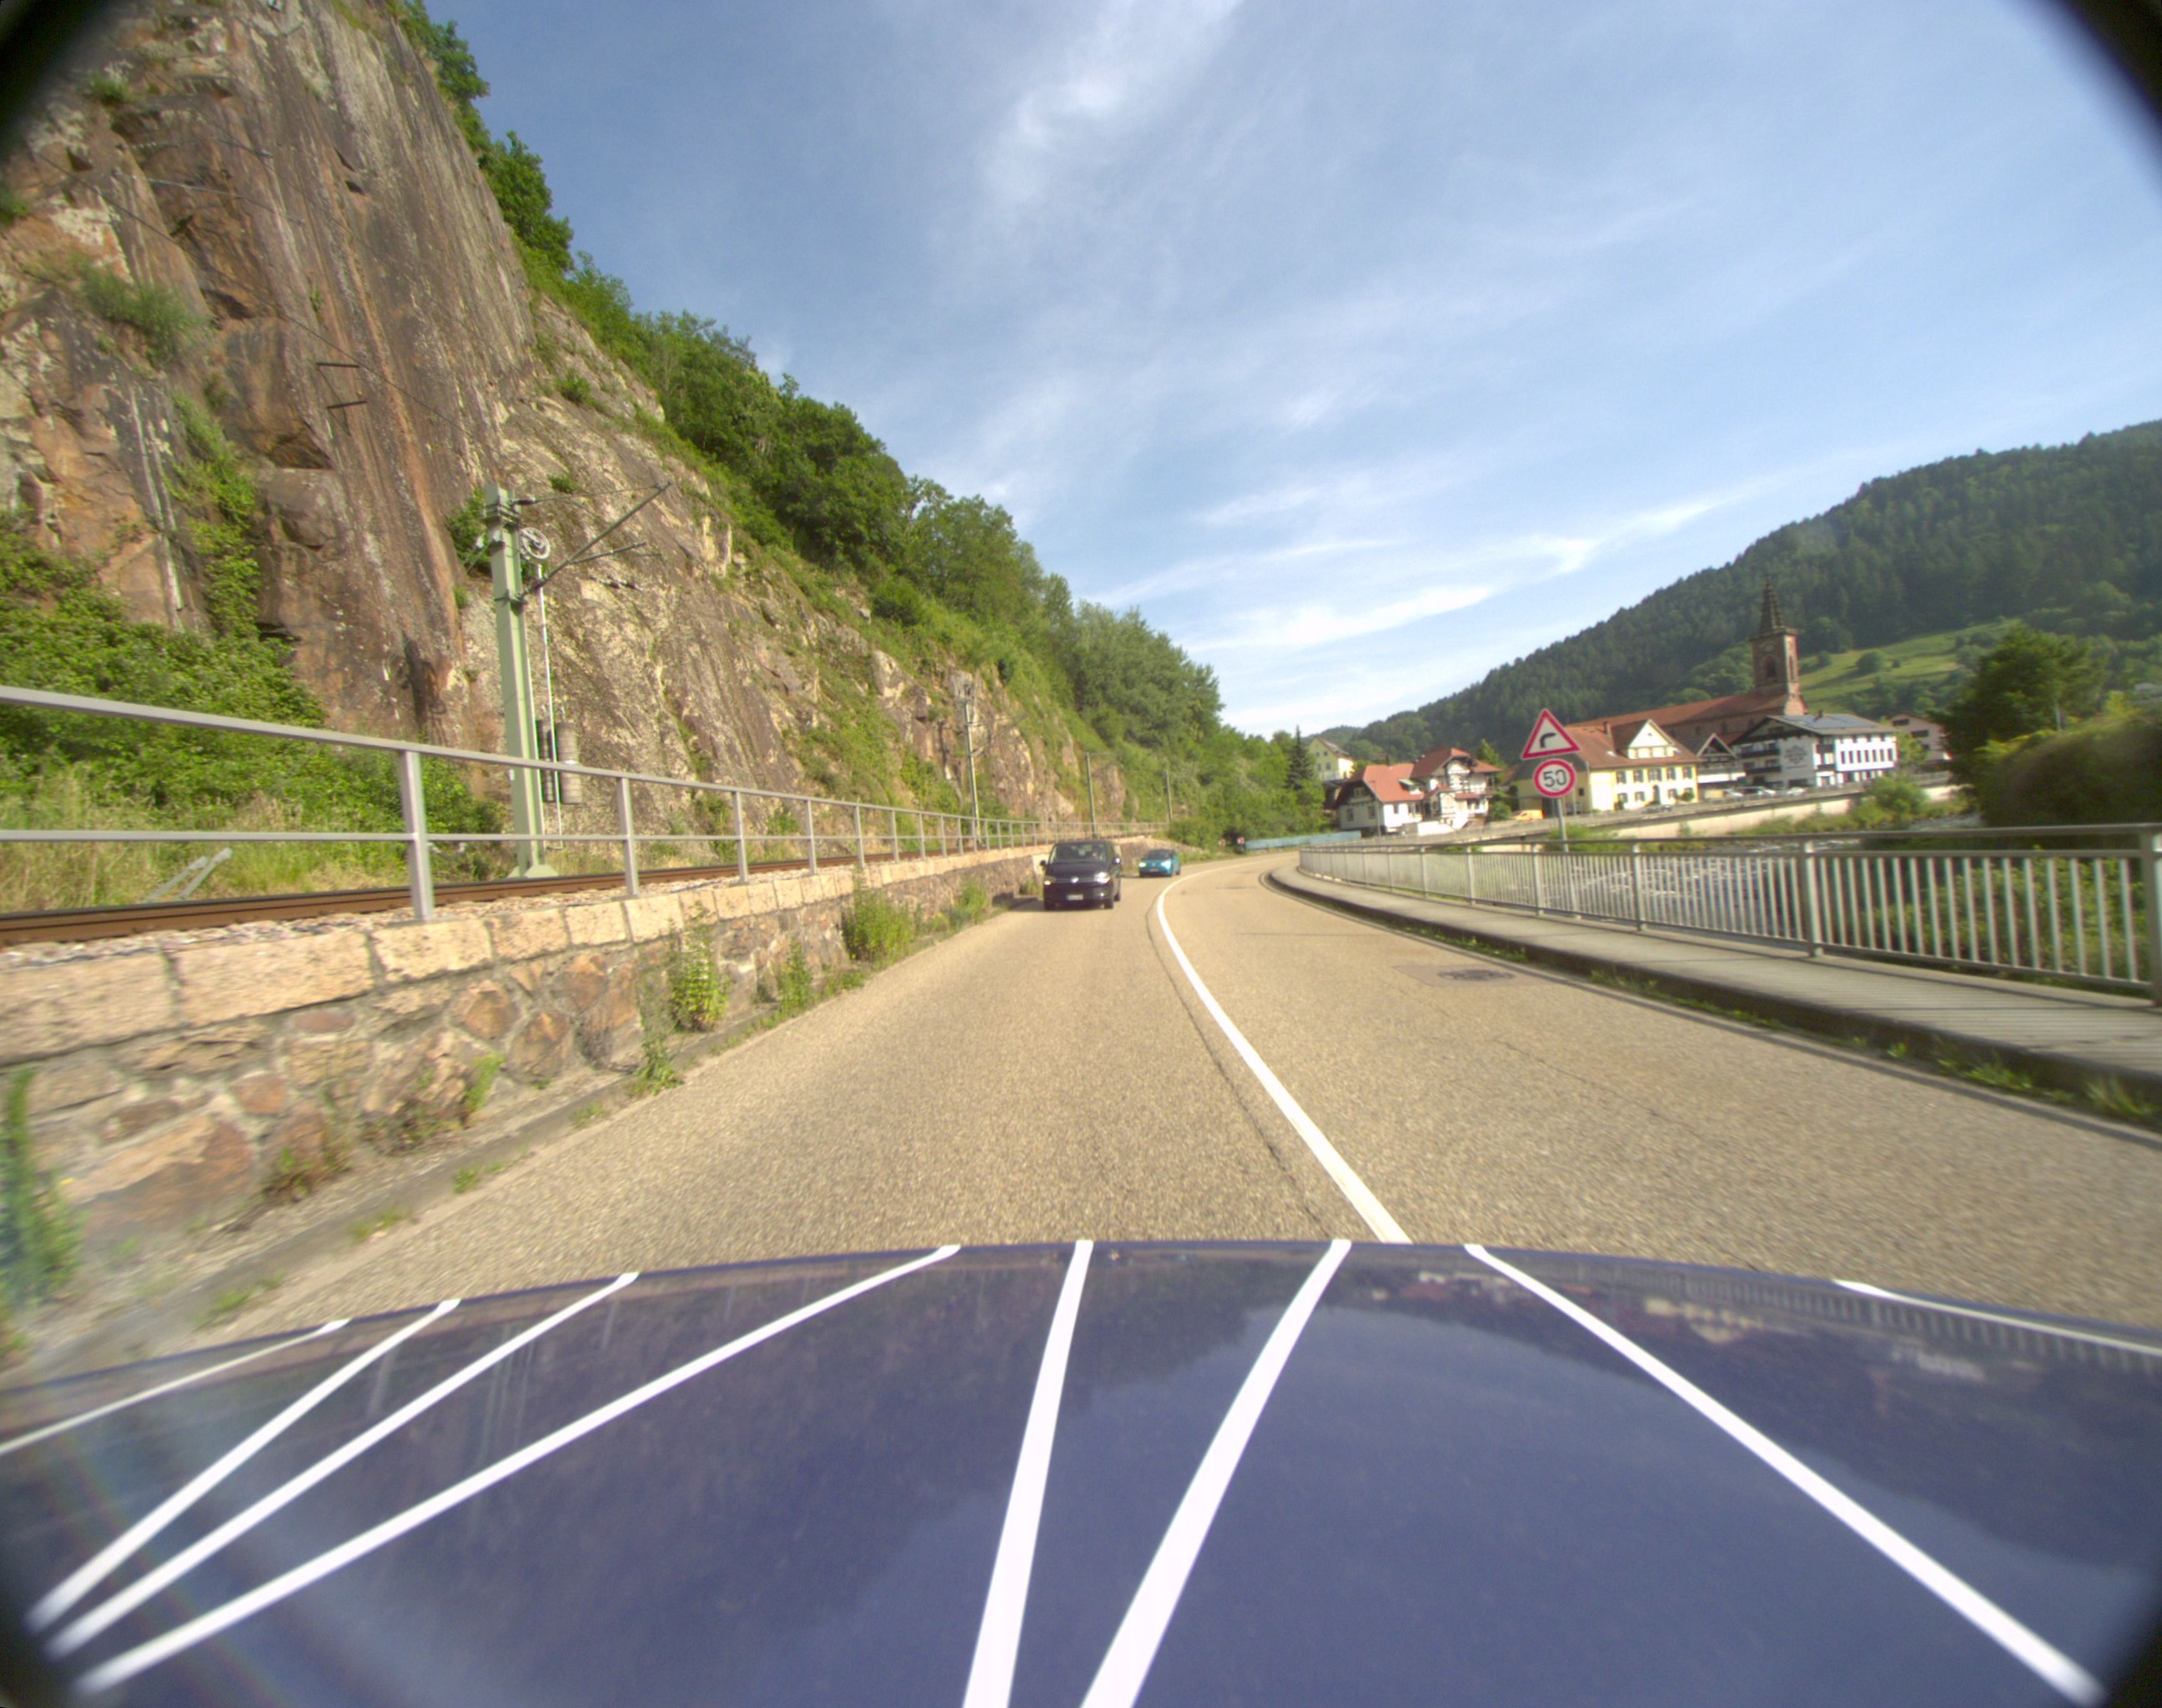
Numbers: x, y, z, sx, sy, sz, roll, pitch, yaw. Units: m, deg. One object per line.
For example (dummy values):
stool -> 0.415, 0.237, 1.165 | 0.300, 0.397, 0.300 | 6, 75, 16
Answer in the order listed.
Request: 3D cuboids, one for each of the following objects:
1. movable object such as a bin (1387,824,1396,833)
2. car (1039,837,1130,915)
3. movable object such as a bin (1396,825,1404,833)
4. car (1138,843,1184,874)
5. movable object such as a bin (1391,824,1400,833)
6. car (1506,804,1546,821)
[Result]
movable object such as a bin -> 38.758, -3.152, 94.862 | 0.753, 1.056, 0.478 | -6, 1, -24
car -> 0.230, 0.540, 22.308 | 1.886, 1.952, 4.868 | -3, 1, 9
movable object such as a bin -> 39.218, -3.115, 93.369 | 0.653, 0.931, 0.472 | -6, 1, -24
car -> 4.535, 0.220, 42.554 | 1.681, 1.513, 3.870 | -3, 1, 18
movable object such as a bin -> 39.056, -3.168, 94.334 | 0.753, 1.056, 0.478 | -6, 1, -24
car -> 60.276, -5.656, 102.947 | 4.838, 1.986, 1.912 | -4, 1, -20
